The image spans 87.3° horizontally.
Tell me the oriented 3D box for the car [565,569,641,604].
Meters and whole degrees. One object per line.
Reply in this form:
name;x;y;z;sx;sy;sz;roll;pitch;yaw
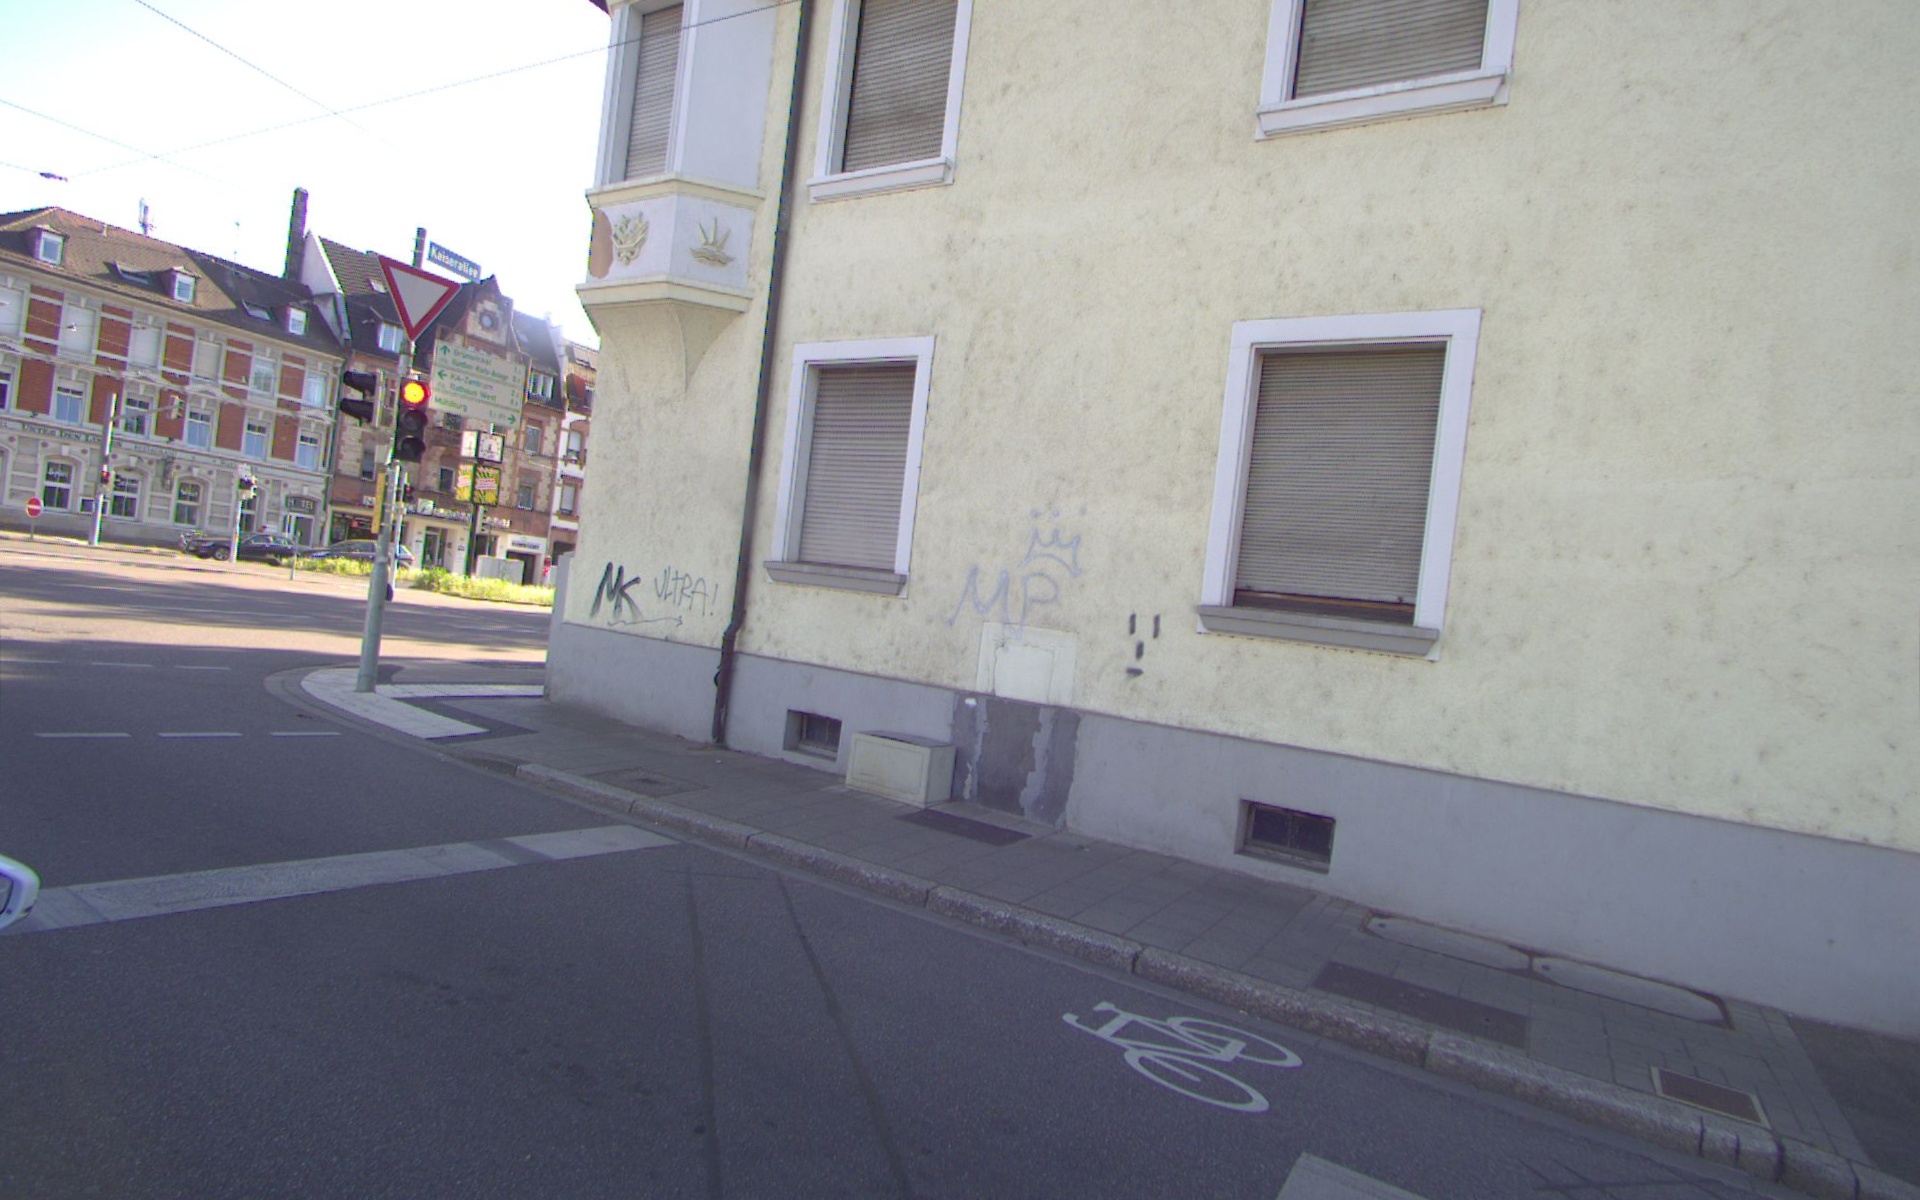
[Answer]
car;-23.124;-0.862;65.307;1.966;1.674;4.378;7;-1;29

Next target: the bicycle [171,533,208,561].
bicycle;-34.946;-2.392;45.611;1.614;1.064;0.606;7;0;27

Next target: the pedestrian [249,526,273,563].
pedestrian;-35.449;-2.789;51.010;0.414;1.773;0.709;7;0;33

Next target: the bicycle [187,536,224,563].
bicycle;-34.646;-2.329;46.193;1.614;1.064;0.606;7;0;27

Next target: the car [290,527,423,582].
car;-26.402;-1.964;44.186;1.967;1.692;4.518;7;-1;31

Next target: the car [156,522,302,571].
car;-30.929;-2.249;42.717;1.966;1.356;4.519;7;-1;30

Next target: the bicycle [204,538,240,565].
bicycle;-34.316;-2.262;46.769;1.614;1.064;0.606;7;0;27
